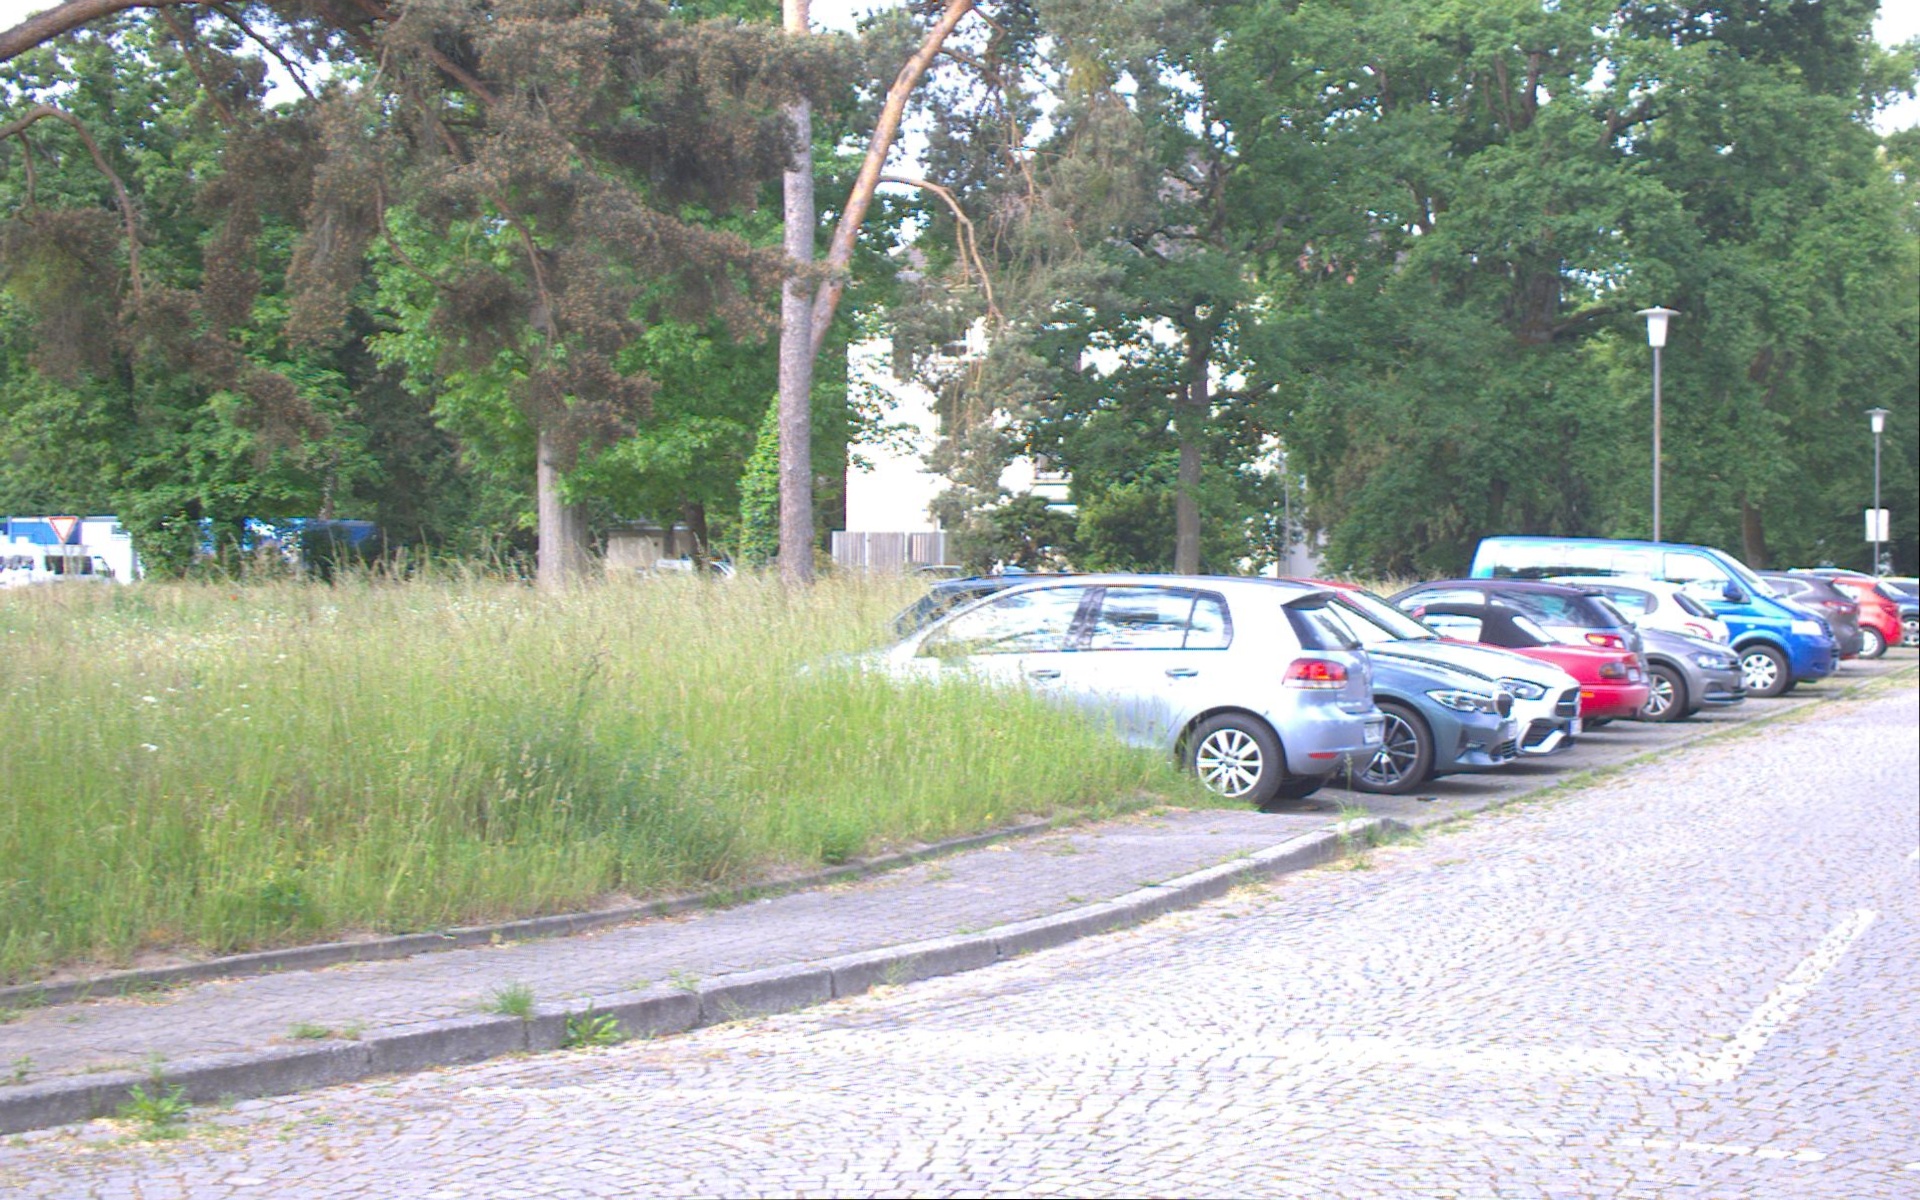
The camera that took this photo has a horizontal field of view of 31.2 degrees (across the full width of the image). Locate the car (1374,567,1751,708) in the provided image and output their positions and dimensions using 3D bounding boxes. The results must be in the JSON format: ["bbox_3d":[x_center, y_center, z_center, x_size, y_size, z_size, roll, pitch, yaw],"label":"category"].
[{"bbox_3d":[7.012,0.398,39.974,4.010,1.496,1.841,1,1,22],"label":"car"}]

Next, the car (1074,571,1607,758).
[{"bbox_3d":[3.310,0.515,29.827,4.258,1.450,1.853,1,1,20],"label":"car"}]

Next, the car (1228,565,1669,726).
[{"bbox_3d":[4.924,0.424,34.623,4.092,1.475,1.753,1,1,21],"label":"car"}]

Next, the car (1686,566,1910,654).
[{"bbox_3d":[15.357,0.165,62.967,3.819,1.484,1.786,1,1,19],"label":"car"}]

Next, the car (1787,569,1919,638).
[{"bbox_3d":[20.723,0.081,76.904,4.076,1.462,1.624,1,1,24],"label":"car"}]

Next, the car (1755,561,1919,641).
[{"bbox_3d":[18.957,0.010,72.553,4.075,1.598,1.786,1,1,19],"label":"car"}]

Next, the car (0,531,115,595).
[{"bbox_3d":[-31.576,-1.269,119.848,2.064,2.088,4.341,0,-1,19],"label":"car"}]

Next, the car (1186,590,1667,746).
[{"bbox_3d":[4.350,0.597,31.982,4.135,1.279,1.762,1,1,20],"label":"car"}]

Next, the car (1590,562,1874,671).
[{"bbox_3d":[11.967,0.228,53.235,4.072,1.570,1.952,1,1,19],"label":"car"}]

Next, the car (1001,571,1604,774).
[{"bbox_3d":[2.757,0.539,27.572,4.441,1.450,1.947,1,0,21],"label":"car"}]

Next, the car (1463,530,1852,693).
[{"bbox_3d":[9.107,0.118,44.843,4.714,1.974,2.036,1,1,19],"label":"car"}]

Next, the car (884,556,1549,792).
[{"bbox_3d":[1.889,0.499,25.033,4.505,1.532,1.869,1,0,17],"label":"car"}]

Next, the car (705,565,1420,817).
[{"bbox_3d":[0.680,0.551,22.680,4.334,1.465,1.825,1,0,21],"label":"car"}]

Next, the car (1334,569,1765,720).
[{"bbox_3d":[6.372,0.445,37.160,4.309,1.475,1.729,1,1,22],"label":"car"}]
